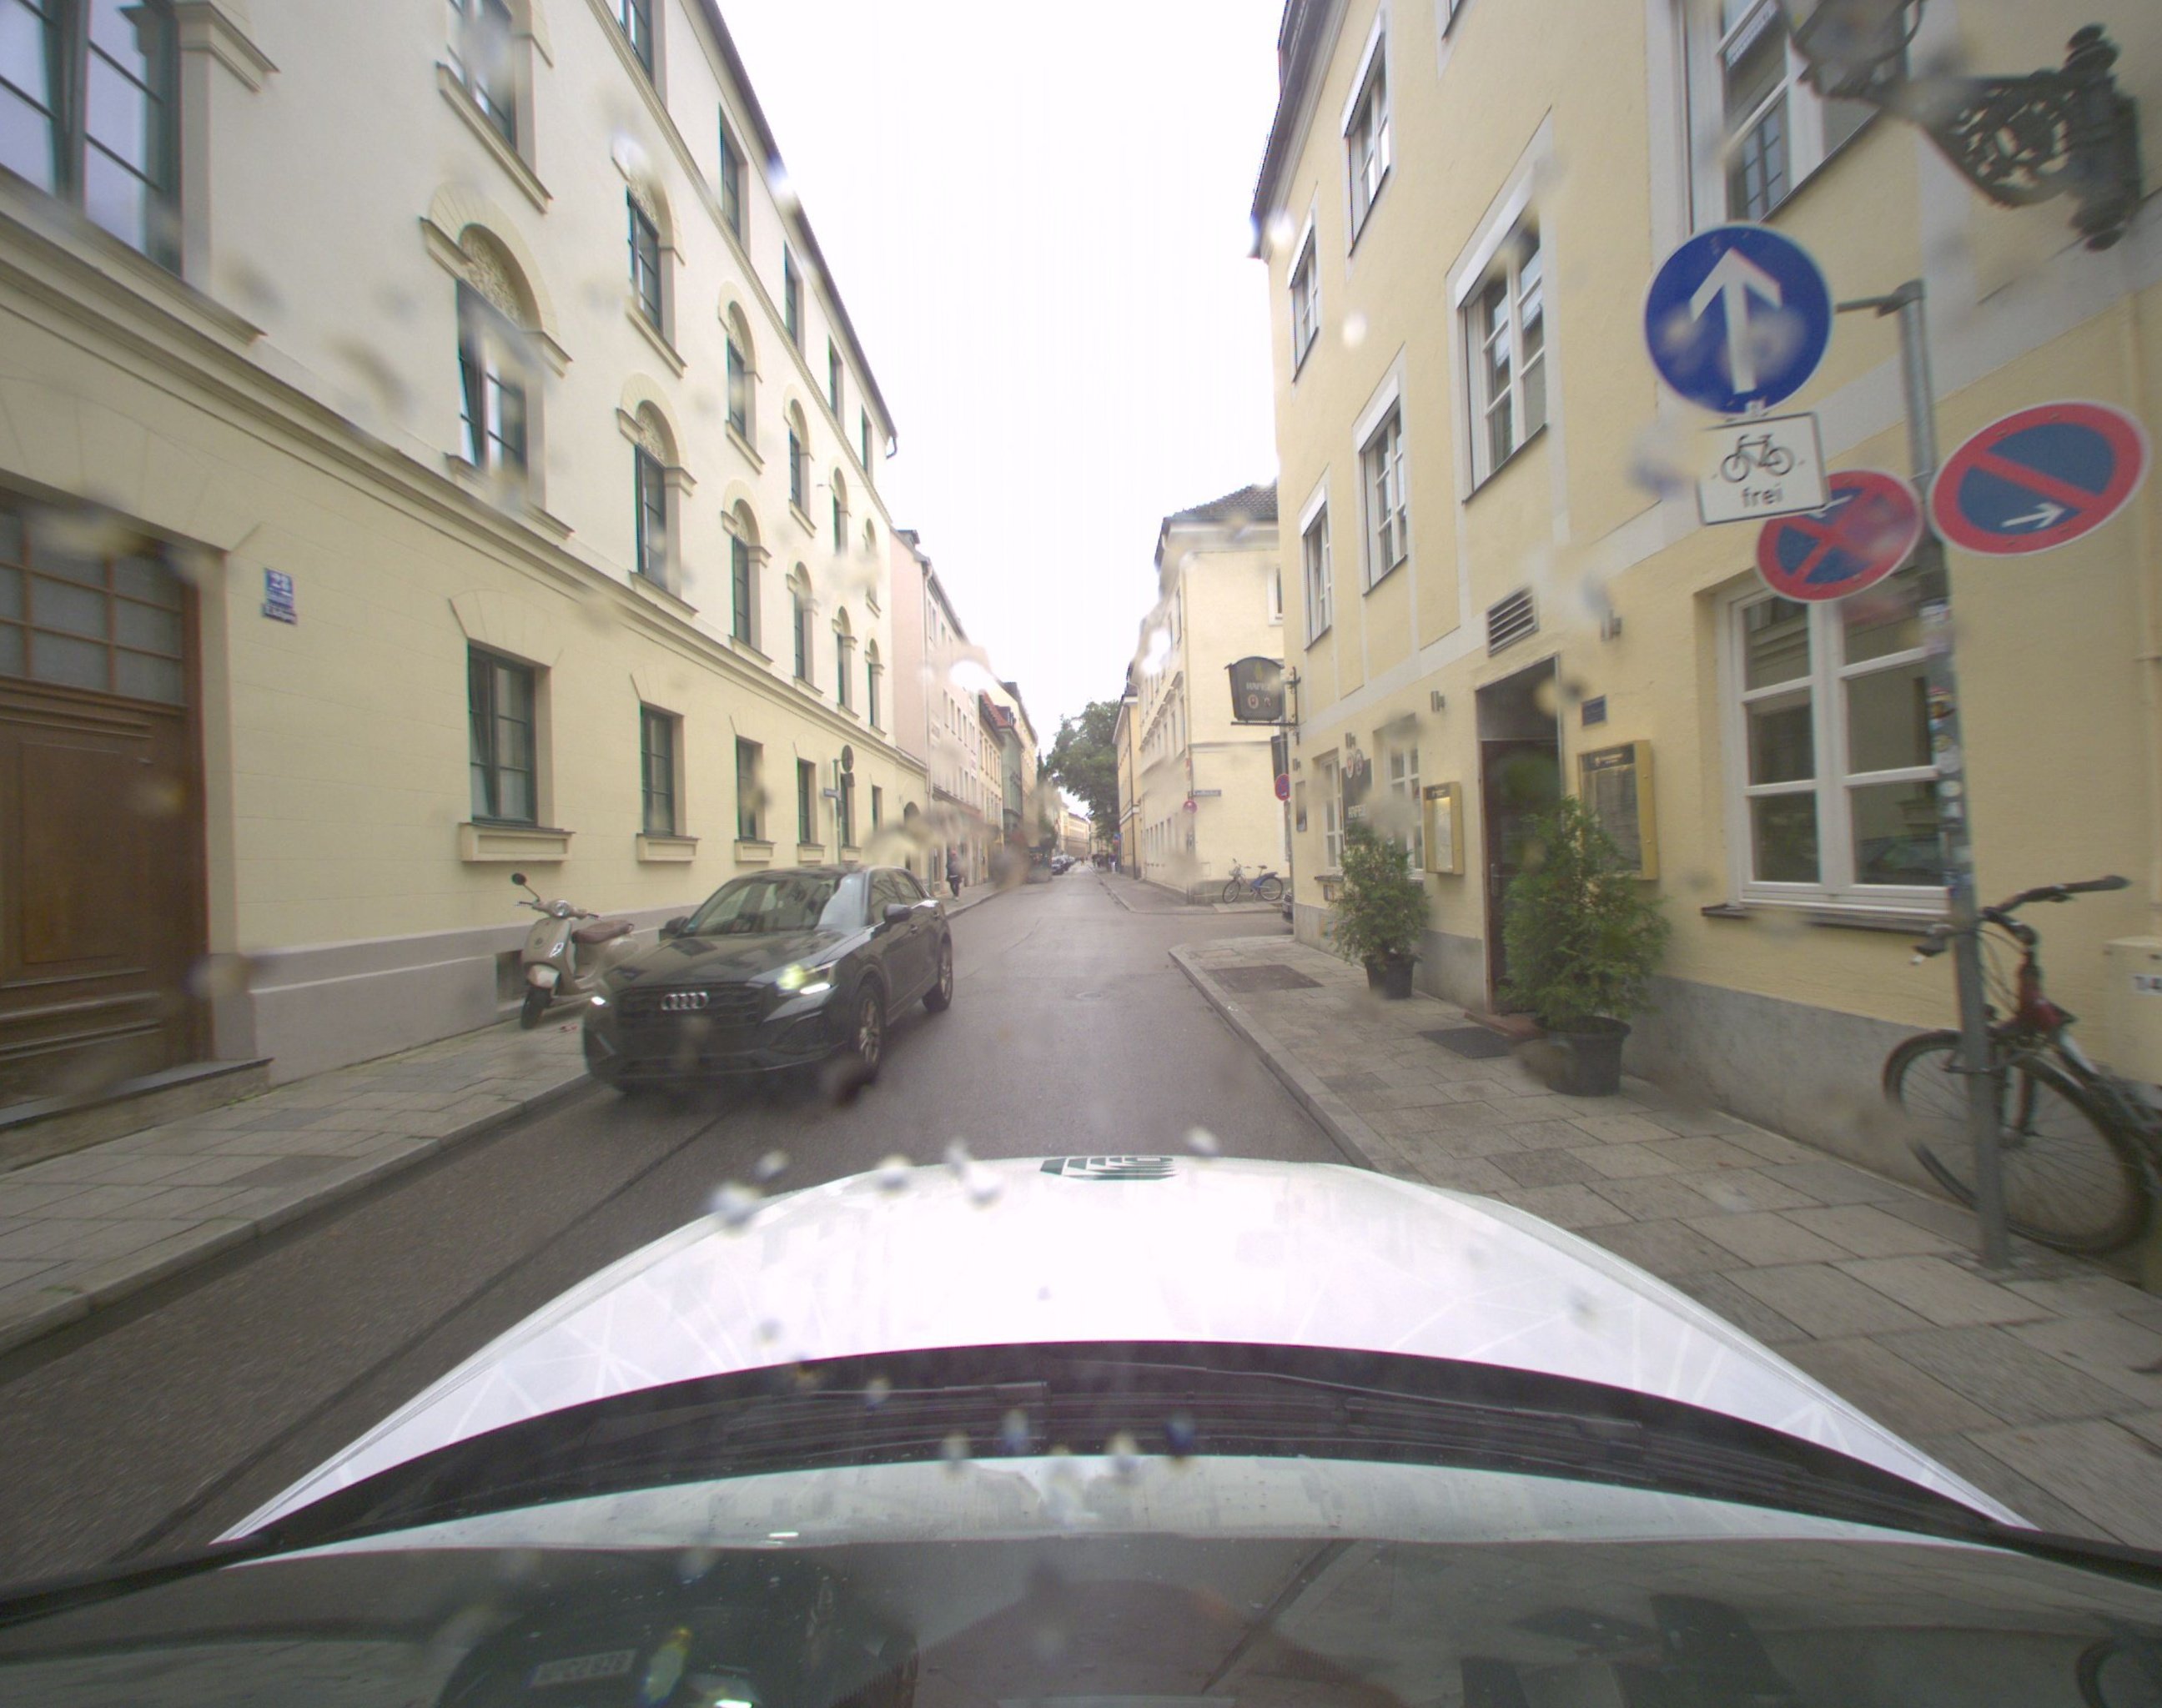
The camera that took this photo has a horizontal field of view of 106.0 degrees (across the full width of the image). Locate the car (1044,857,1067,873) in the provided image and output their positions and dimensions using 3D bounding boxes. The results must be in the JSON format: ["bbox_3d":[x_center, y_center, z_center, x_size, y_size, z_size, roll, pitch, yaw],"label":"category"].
[{"bbox_3d":[-2.362,1.030,76.308,1.772,1.466,3.544,-1,0,3],"label":"car"}]

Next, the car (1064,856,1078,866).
[{"bbox_3d":[-1.436,0.981,120.997,1.772,1.466,3.544,-1,0,3],"label":"car"}]

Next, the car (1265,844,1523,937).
[{"bbox_3d":[5.513,0.614,14.701,4.000,1.440,1.765,-1,2,1],"label":"car"}]

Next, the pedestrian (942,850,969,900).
[{"bbox_3d":[-4.574,0.743,29.733,0.807,1.755,0.989,-1,1,-2],"label":"pedestrian"}]

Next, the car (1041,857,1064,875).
[{"bbox_3d":[-2.484,1.017,71.713,1.772,1.466,3.665,-1,0,3],"label":"car"}]

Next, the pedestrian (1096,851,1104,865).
[{"bbox_3d":[2.444,0.531,103.506,1.012,1.802,1.349,-1,0,1],"label":"pedestrian"}]

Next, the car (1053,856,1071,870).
[{"bbox_3d":[-2.106,0.956,91.266,1.772,1.466,3.544,-1,0,3],"label":"car"}]

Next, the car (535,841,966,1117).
[{"bbox_3d":[-2.268,0.749,6.870,1.805,1.594,4.002,-2,0,2],"label":"car"}]

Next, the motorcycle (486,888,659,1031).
[{"bbox_3d":[-4.937,0.969,8.050,0.600,1.174,1.708,-1,0,0],"label":"motorcycle"}]

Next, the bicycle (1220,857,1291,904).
[{"bbox_3d":[4.674,0.700,21.835,1.752,1.144,0.586,-3,2,0],"label":"bicycle"}]

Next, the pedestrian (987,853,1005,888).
[{"bbox_3d":[-4.232,0.832,40.629,0.764,1.708,0.784,-2,0,-3],"label":"pedestrian"}]

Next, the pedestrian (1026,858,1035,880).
[{"bbox_3d":[-3.078,0.916,50.118,0.508,1.326,0.630,-1,0,-2],"label":"pedestrian"}]

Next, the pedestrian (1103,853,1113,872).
[{"bbox_3d":[2.559,0.771,77.347,0.877,1.802,1.046,-1,0,1],"label":"pedestrian"}]

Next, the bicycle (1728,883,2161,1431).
[{"bbox_3d":[2.648,0.695,2.104,0.563,1.137,1.684,-4,0,1],"label":"bicycle"}]
